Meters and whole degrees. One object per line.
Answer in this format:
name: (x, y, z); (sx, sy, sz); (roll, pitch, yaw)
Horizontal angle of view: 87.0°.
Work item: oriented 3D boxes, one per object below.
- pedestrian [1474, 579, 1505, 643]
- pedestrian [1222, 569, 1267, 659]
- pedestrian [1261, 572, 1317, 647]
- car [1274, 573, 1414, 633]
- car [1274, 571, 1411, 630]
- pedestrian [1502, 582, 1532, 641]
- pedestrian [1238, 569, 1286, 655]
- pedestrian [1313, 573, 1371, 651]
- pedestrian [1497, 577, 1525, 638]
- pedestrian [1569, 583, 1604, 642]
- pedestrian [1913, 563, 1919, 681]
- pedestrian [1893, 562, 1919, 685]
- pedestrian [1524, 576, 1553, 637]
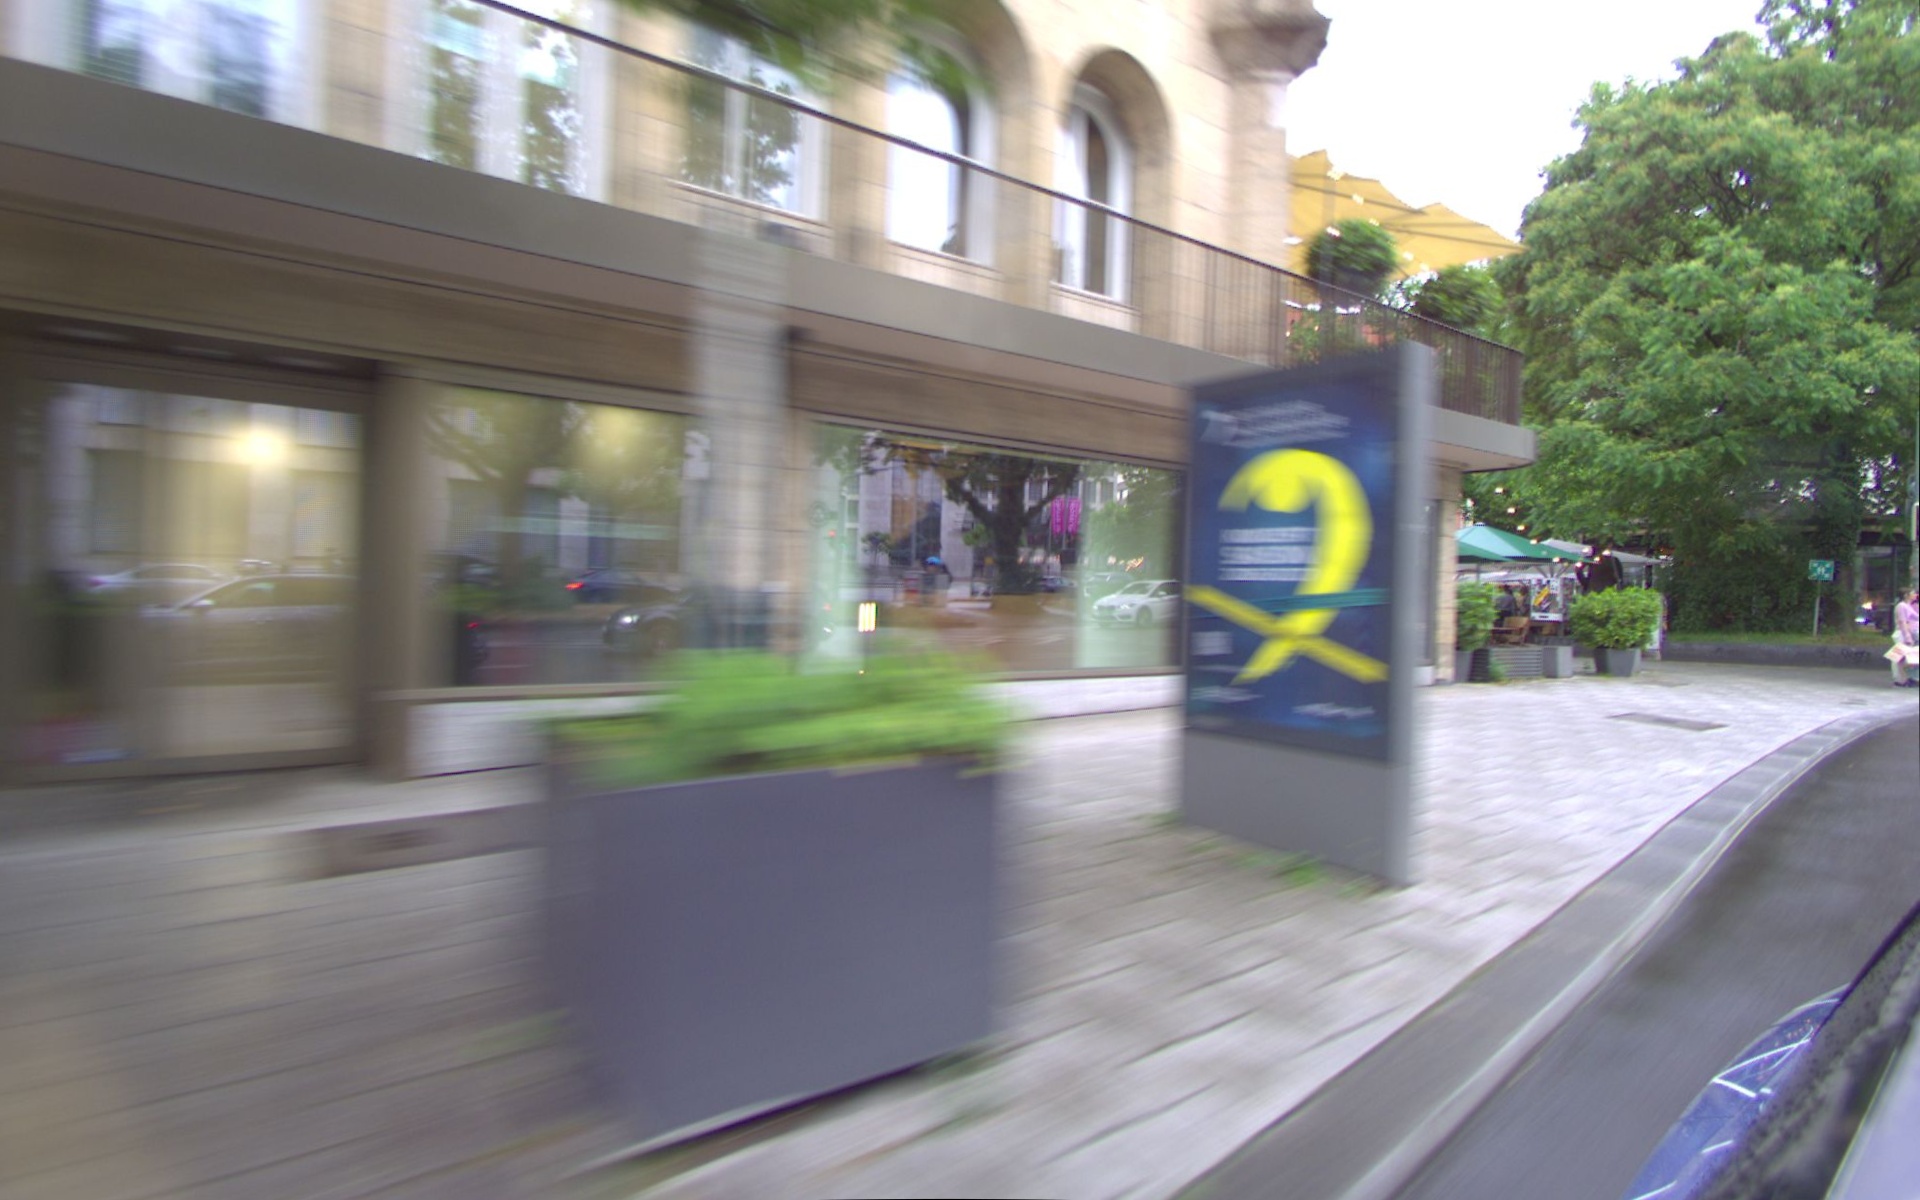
pedestrian: (15.398, 0.318, 29.438); (0.630, 1.859, 0.499); (0, -1, 2)
pedestrian: (3.512, 0.172, 12.489); (0.472, 1.087, 0.329); (1, -1, -44)
pedestrian: (4.845, 0.137, 14.905); (0.534, 1.069, 0.556); (1, 0, -33)
car: (10.530, 0.059, 27.675); (3.924, 1.517, 1.671); (0, 1, -35)
car: (10.499, 0.000, 27.684); (3.926, 1.517, 1.671); (0, 1, -37)
pedestrian: (16.178, 0.341, 29.408); (0.537, 1.702, 0.605); (0, -1, 2)
pedestrian: (3.873, 0.150, 12.999); (0.400, 1.069, 0.545); (1, 0, -4)
pedestrian: (5.360, 0.159, 14.204); (0.534, 1.069, 0.556); (1, 0, -33)
pedestrian: (15.627, 0.205, 28.712); (0.537, 1.702, 0.499); (0, -1, 3)
pedestrian: (18.087, 0.354, 29.227); (0.670, 1.702, 0.571); (0, -1, 4)
pedestrian: (15.507, 0.349, 15.898); (0.552, 1.857, 0.635); (0, 1, -31)
pedestrian: (14.884, 0.354, 15.579); (0.586, 1.857, 0.623); (1, 1, 28)
pedestrian: (16.396, 0.177, 28.691); (0.537, 1.702, 0.499); (0, -1, 3)
